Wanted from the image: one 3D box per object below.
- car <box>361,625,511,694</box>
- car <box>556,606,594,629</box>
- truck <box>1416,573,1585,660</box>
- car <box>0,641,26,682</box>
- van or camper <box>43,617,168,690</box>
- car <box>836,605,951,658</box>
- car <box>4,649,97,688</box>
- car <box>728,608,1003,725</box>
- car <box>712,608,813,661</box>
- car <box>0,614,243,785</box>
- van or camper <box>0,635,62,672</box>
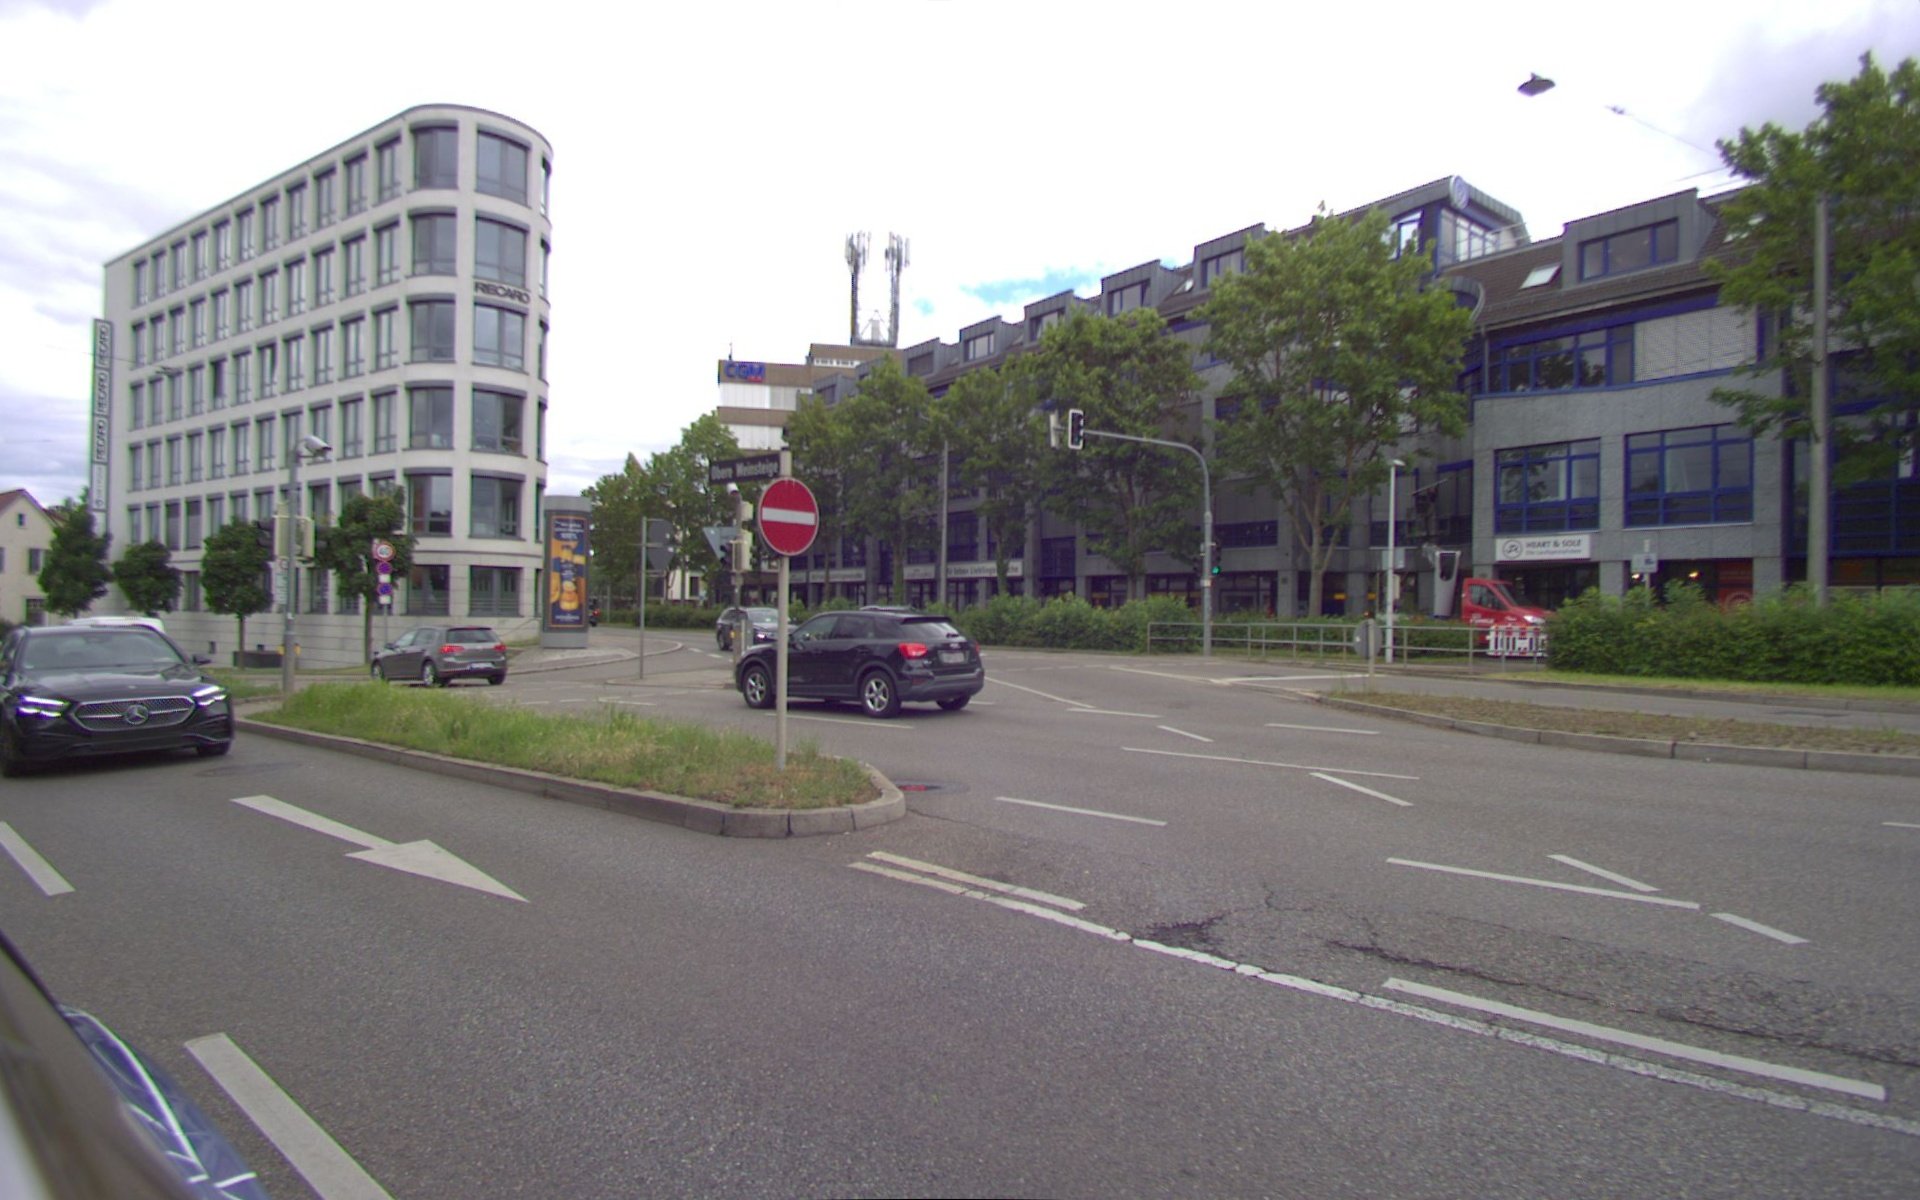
[{"bbox_3d":[-12.656,1.373,24.367,3.995,1.475,1.727,-1,0,38],"label":"car"},{"bbox_3d":[-27.451,1.202,72.080,1.689,1.474,4.454,-2,1,-31],"label":"car"},{"bbox_3d":[16.437,0.535,30.964,1.966,2.405,4.012,-2,-1,-30],"label":"truck"},{"bbox_3d":[-36.761,2.317,37.828,4.470,1.492,1.762,-3,-3,35],"label":"car"},{"bbox_3d":[-25.692,1.549,30.393,4.442,2.029,1.975,-2,-2,38],"label":"van or camper"},{"bbox_3d":[-2.182,0.948,31.913,1.752,1.474,4.453,-2,0,-31],"label":"car"},{"bbox_3d":[-35.658,2.661,39.675,3.939,1.389,1.770,-3,-2,33],"label":"car"},{"bbox_3d":[-1.487,0.899,14.966,3.996,1.475,1.733,-1,0,40],"label":"car"},{"bbox_3d":[-6.430,1.056,32.557,1.752,1.474,4.454,-2,1,-31],"label":"car"},{"bbox_3d":[-9.794,1.038,11.353,4.332,1.542,1.854,-4,-3,40],"label":"car"},{"bbox_3d":[-54.086,3.120,58.533,4.859,1.983,2.043,-4,-4,34],"label":"van or camper"}]
